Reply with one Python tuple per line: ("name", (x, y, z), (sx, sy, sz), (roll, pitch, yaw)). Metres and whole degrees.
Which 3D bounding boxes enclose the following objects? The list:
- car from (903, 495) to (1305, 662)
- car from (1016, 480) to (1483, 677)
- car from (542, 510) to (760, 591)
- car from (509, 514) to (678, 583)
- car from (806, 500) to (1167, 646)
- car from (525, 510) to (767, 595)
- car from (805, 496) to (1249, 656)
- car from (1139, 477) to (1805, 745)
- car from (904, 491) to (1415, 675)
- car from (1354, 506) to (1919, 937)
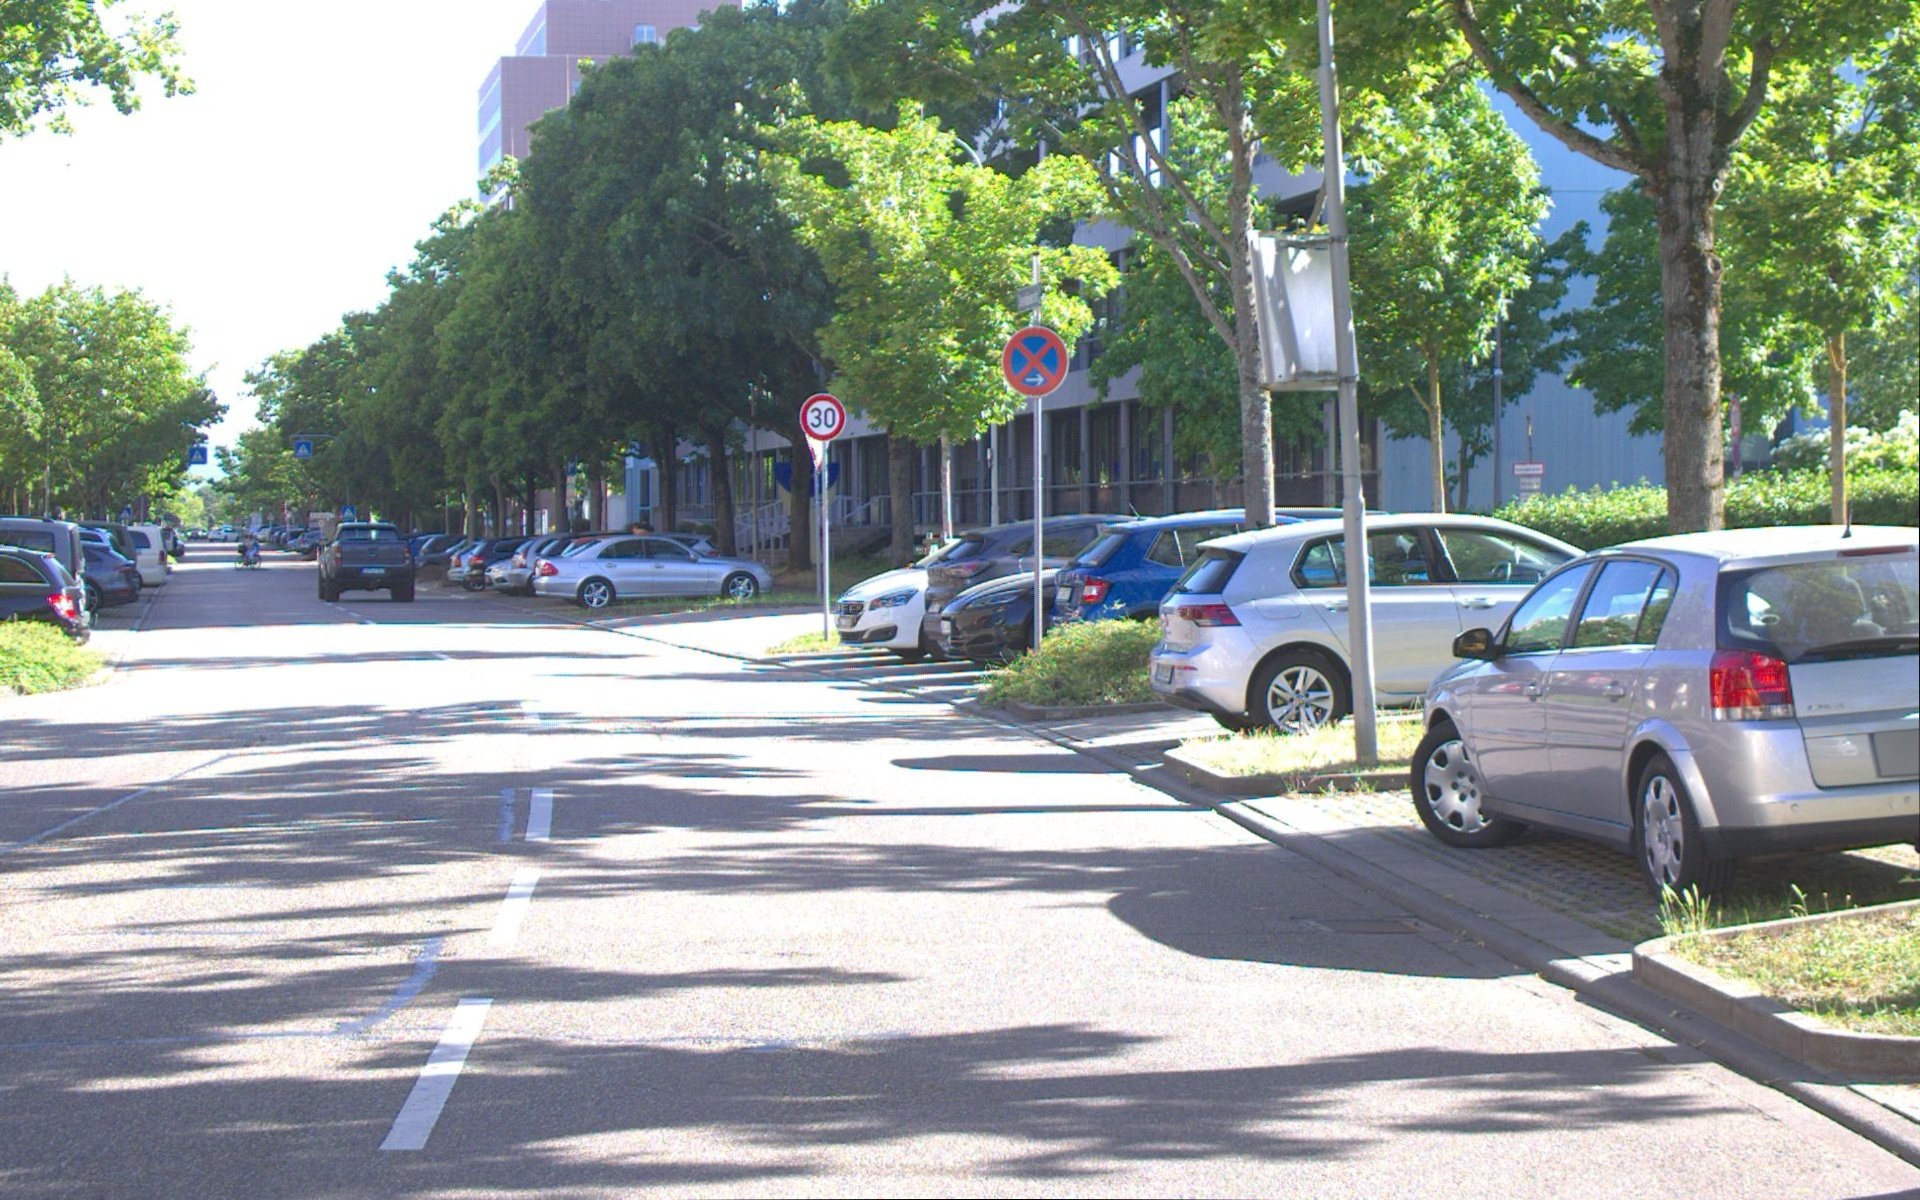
("car", (1.496, -0.238, 36.385), (3.874, 1.509, 1.751), (-3, 1, -12))
("car", (2.597, -0.208, 31.197), (3.804, 1.443, 1.745), (-5, 1, -10))
("car", (-6.646, -1.075, 73.728), (4.514, 1.537, 1.922), (-2, 1, -8))
("car", (-8.823, -1.241, 82.684), (3.742, 1.488, 1.617), (-3, 2, -16))
("car", (0.311, -0.334, 41.415), (3.947, 1.509, 1.702), (-3, 1, -18))
("car", (-6.255, -0.958, 68.328), (4.577, 1.470, 1.747), (-3, 2, -11))
("car", (0.742, -0.281, 38.847), (4.548, 1.509, 1.983), (-3, 1, -18))
("car", (3.405, 0.050, 23.254), (4.088, 1.424, 1.643), (-5, 1, -5))
("car", (1.922, -0.182, 33.866), (4.548, 1.509, 2.159), (-3, 1, -12))
("car", (3.261, 0.388, 14.899), (1.808, 1.488, 4.625), (-3, 2, -9))
